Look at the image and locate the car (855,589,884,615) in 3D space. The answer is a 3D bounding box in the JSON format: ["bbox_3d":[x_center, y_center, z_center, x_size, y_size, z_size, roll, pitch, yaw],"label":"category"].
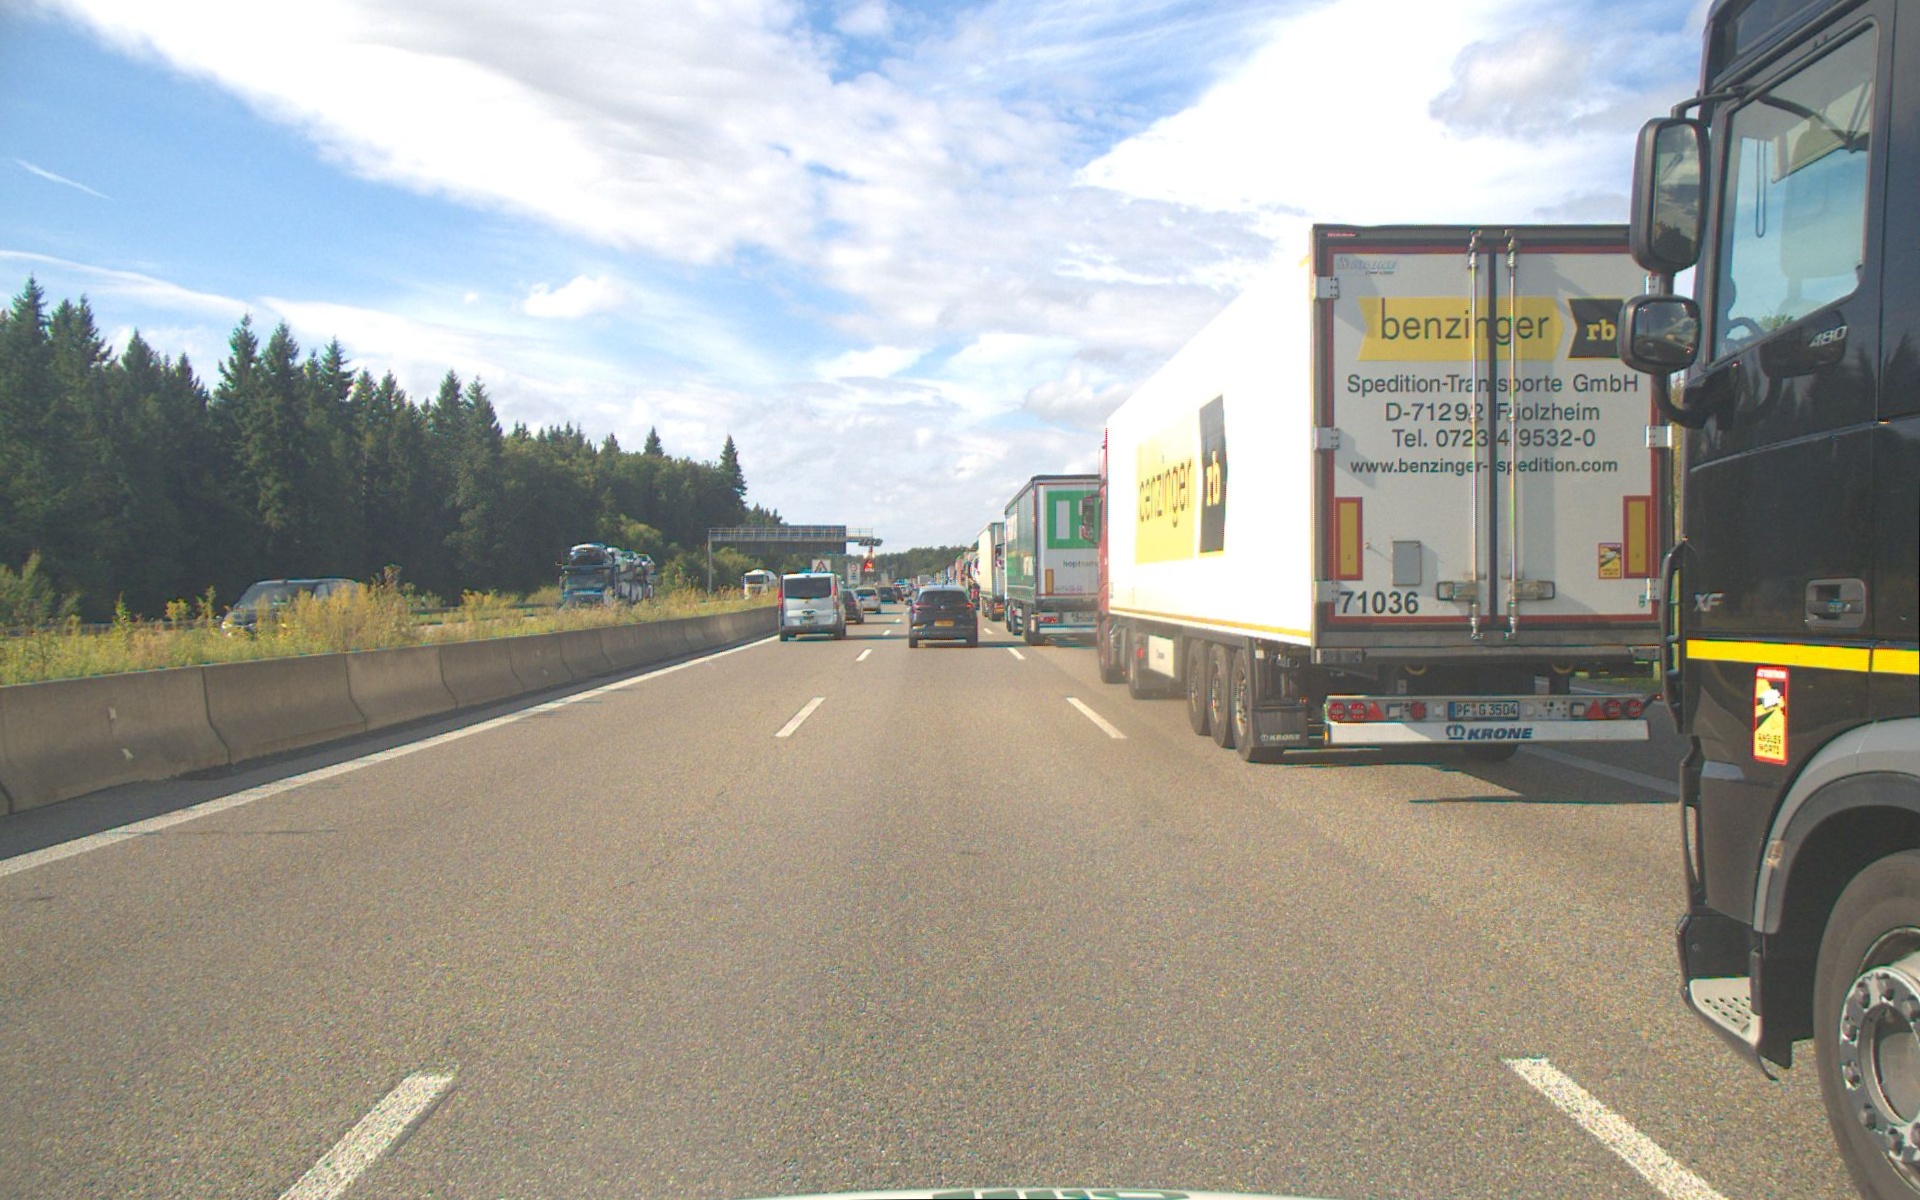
[{"bbox_3d":[-5.065,0.099,93.153,1.469,1.420,3.475,2,0,-1],"label":"car"}]

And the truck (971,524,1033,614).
[{"bbox_3d":[1.994,-1.459,80.762,2.653,4.130,6.360,-1,0,-1],"label":"truck"}]

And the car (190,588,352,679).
[{"bbox_3d":[-15.835,0.717,38.276,1.840,1.909,4.489,2,0,-1],"label":"car"}]

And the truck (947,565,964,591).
[{"bbox_3d":[-0.532,-2.647,198.929,1.953,2.983,4.981,2,0,0],"label":"truck"}]

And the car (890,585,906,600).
[{"bbox_3d":[-5.978,-0.713,159.812,1.406,1.333,3.532,2,0,-1],"label":"car"}]

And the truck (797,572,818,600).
[{"bbox_3d":[-24.009,-2.157,260.427,2.656,4.318,10.341,-1,0,-2],"label":"truck"}]

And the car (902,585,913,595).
[{"bbox_3d":[-6.845,-1.276,214.987,1.333,1.324,3.084,2,0,-1],"label":"car"}]

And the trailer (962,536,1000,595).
[{"bbox_3d":[1.567,-2.616,129.211,2.745,4.318,11.056,-1,0,0],"label":"trailer"}]

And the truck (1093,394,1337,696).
[{"bbox_3d":[3.631,-0.741,24.965,2.745,4.007,5.825,0,0,0],"label":"truck"}]

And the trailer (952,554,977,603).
[{"bbox_3d":[0.381,-1.925,151.969,2.106,4.333,8.439,-1,0,0],"label":"trailer"}]

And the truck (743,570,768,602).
[{"bbox_3d":[-21.876,-1.476,176.982,2.271,3.331,6.101,0,0,-4],"label":"truck"}]

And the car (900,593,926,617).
[{"bbox_3d":[-2.966,0.274,103.727,1.549,1.420,3.207,2,0,-2],"label":"car"}]

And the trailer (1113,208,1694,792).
[{"bbox_3d":[3.661,-0.706,17.925,2.735,4.007,13.068,0,0,0],"label":"trailer"}]

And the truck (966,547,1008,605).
[{"bbox_3d":[1.721,-1.567,108.833,2.482,3.646,6.728,-1,0,-1],"label":"truck"}]

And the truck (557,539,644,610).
[{"bbox_3d":[-20.447,-1.395,94.666,2.774,3.753,11.129,-1,0,-1],"label":"truck"}]

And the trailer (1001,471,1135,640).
[{"bbox_3d":[2.723,-1.075,45.723,2.607,3.936,13.392,-1,0,-1],"label":"trailer"}]

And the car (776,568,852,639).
[{"bbox_3d":[-4.462,0.101,51.210,1.894,2.013,5.097,2,0,-1],"label":"car"}]

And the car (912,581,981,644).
[{"bbox_3d":[-0.372,0.301,43.004,1.662,1.509,4.159,2,0,-1],"label":"car"}]

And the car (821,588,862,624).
[{"bbox_3d":[-4.942,0.250,69.268,1.470,1.420,3.475,3,0,-1],"label":"car"}]

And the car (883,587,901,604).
[{"bbox_3d":[-5.682,-0.377,139.297,1.406,1.333,3.532,2,0,-1],"label":"car"}]

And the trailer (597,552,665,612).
[{"bbox_3d":[-20.721,-1.102,104.712,2.742,3.590,8.951,-1,0,-2],"label":"trailer"}]

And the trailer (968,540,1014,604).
[{"bbox_3d":[1.824,-1.641,102.598,2.489,3.717,10.625,-1,0,-1],"label":"trailer"}]

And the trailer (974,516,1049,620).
[{"bbox_3d":[2.124,-1.352,73.266,2.648,4.153,12.942,-1,1,-1],"label":"trailer"}]

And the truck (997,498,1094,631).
[{"bbox_3d":[2.624,-1.073,52.628,2.593,3.936,6.995,-1,0,-1],"label":"truck"}]

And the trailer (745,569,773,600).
[{"bbox_3d":[-22.149,-1.733,182.415,2.275,3.342,10.869,0,0,-3],"label":"trailer"}]

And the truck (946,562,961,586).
[{"bbox_3d":[-0.894,-3.525,226.228,1.953,3.105,4.981,2,0,0],"label":"truck"}]
